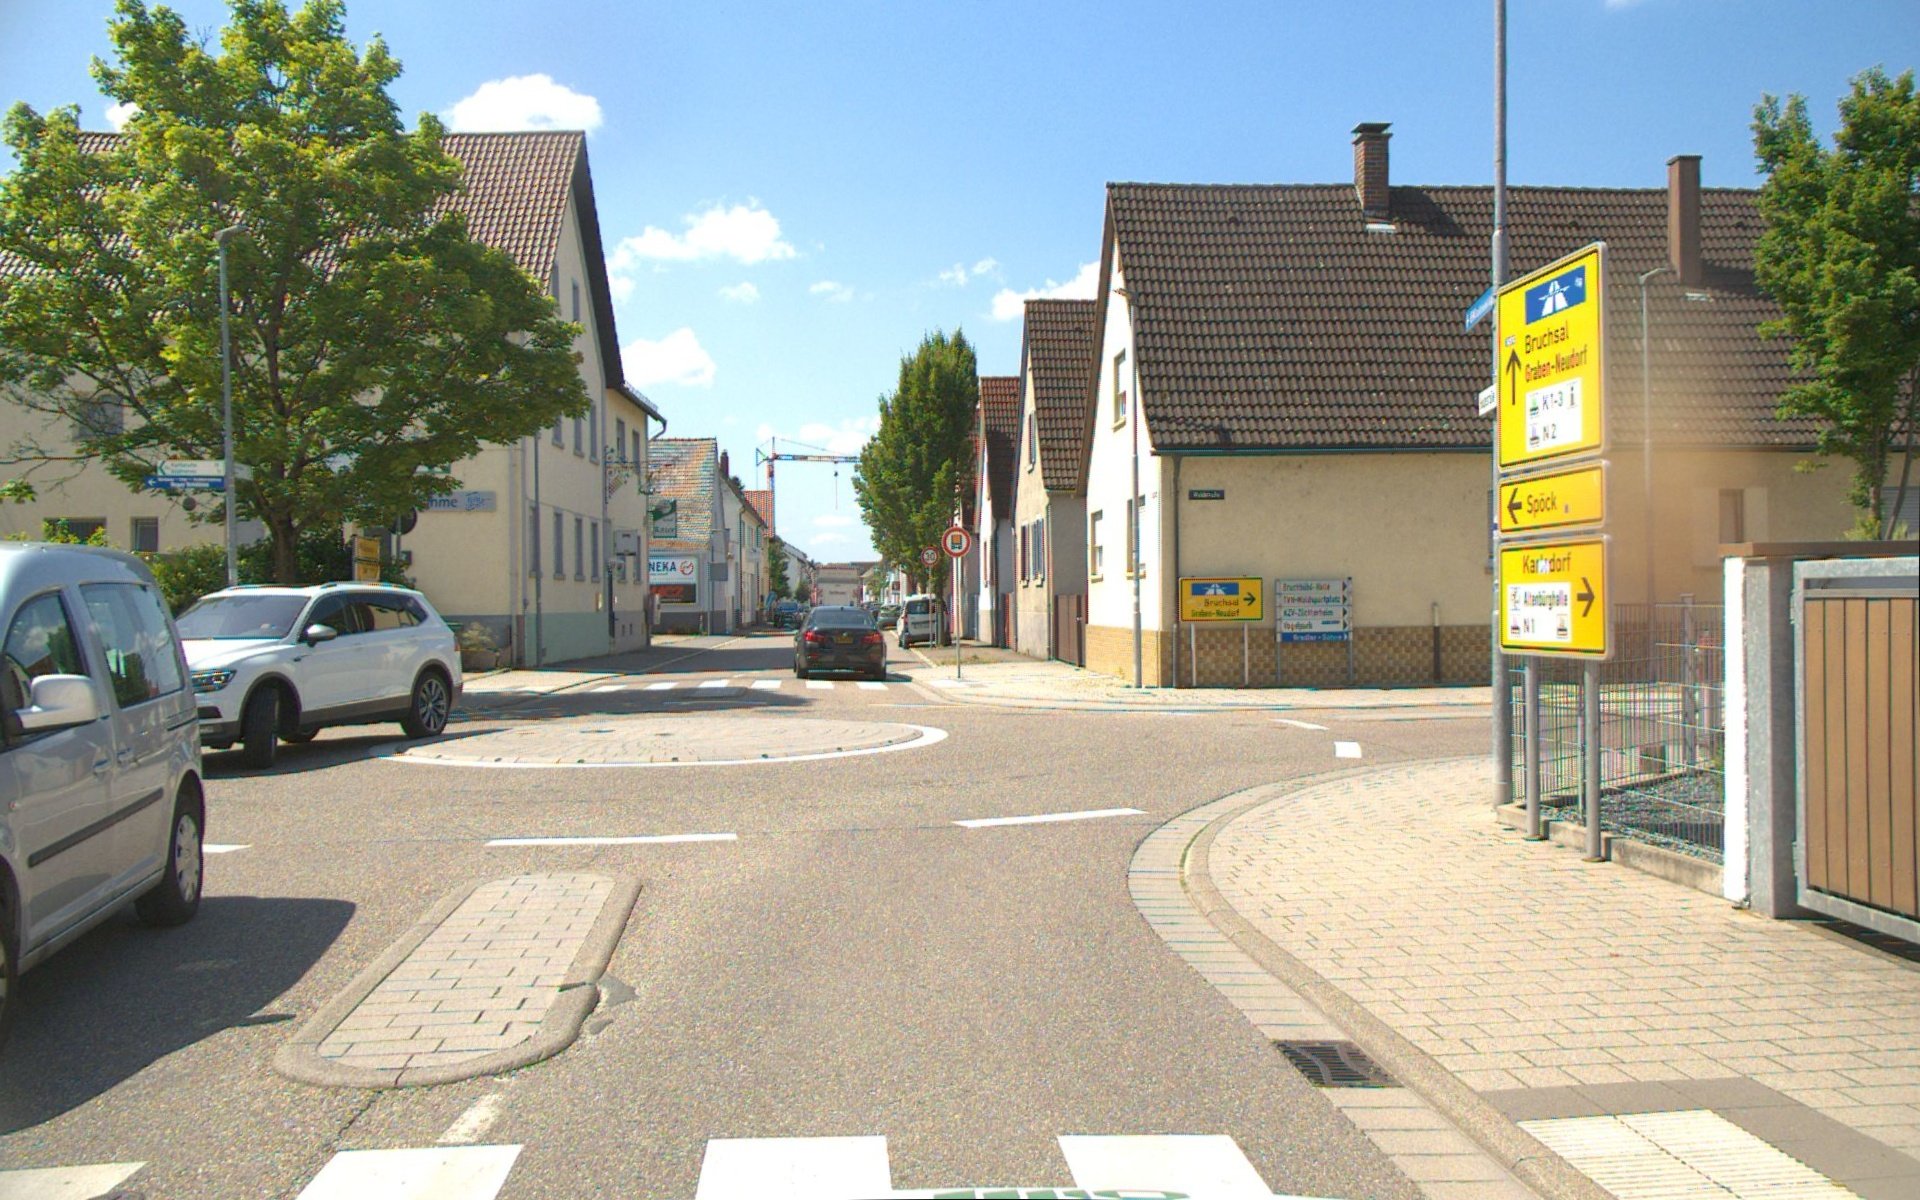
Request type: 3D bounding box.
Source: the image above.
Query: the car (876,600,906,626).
[{"bbox_3d":[-3.947,0.731,94.762,1.685,1.487,4.154,0,0,-2],"label":"car"}]

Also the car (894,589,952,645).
[{"bbox_3d":[-1.340,0.566,58.060,1.686,1.821,4.139,-2,0,-6],"label":"car"}]

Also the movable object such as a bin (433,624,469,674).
[{"bbox_3d":[-11.440,1.091,37.185,0.587,1.097,0.658,-1,0,-2],"label":"movable object such as a bin"}]

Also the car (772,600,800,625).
[{"bbox_3d":[-11.428,0.793,108.712,1.774,1.617,3.996,0,0,-5],"label":"car"}]

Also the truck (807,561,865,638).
[{"bbox_3d":[-7.295,0.009,98.432,3.082,4.325,9.296,1,-1,-3],"label":"truck"}]

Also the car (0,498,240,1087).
[{"bbox_3d":[-4.183,0.635,6.328,1.741,1.853,4.427,-2,0,-13],"label":"car"}]

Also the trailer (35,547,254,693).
[{"bbox_3d":[-14.335,0.323,29.387,1.842,2.376,4.520,1,0,-3],"label":"trailer"}]

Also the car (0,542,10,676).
[{"bbox_3d":[-19.471,0.170,29.609,1.898,2.612,5.643,1,0,-3],"label":"car"}]

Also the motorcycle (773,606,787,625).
[{"bbox_3d":[-11.376,0.974,104.709,0.830,1.190,2.466,1,-1,-5],"label":"motorcycle"}]

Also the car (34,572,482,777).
[{"bbox_3d":[-6.717,0.633,16.479,1.826,1.740,4.546,-1,0,12],"label":"car"}]

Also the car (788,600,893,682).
[{"bbox_3d":[-2.587,0.806,34.978,1.867,1.591,4.467,0,0,-9],"label":"car"}]

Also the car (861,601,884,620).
[{"bbox_3d":[-6.542,0.790,123.113,1.685,1.379,4.153,0,0,-4],"label":"car"}]
